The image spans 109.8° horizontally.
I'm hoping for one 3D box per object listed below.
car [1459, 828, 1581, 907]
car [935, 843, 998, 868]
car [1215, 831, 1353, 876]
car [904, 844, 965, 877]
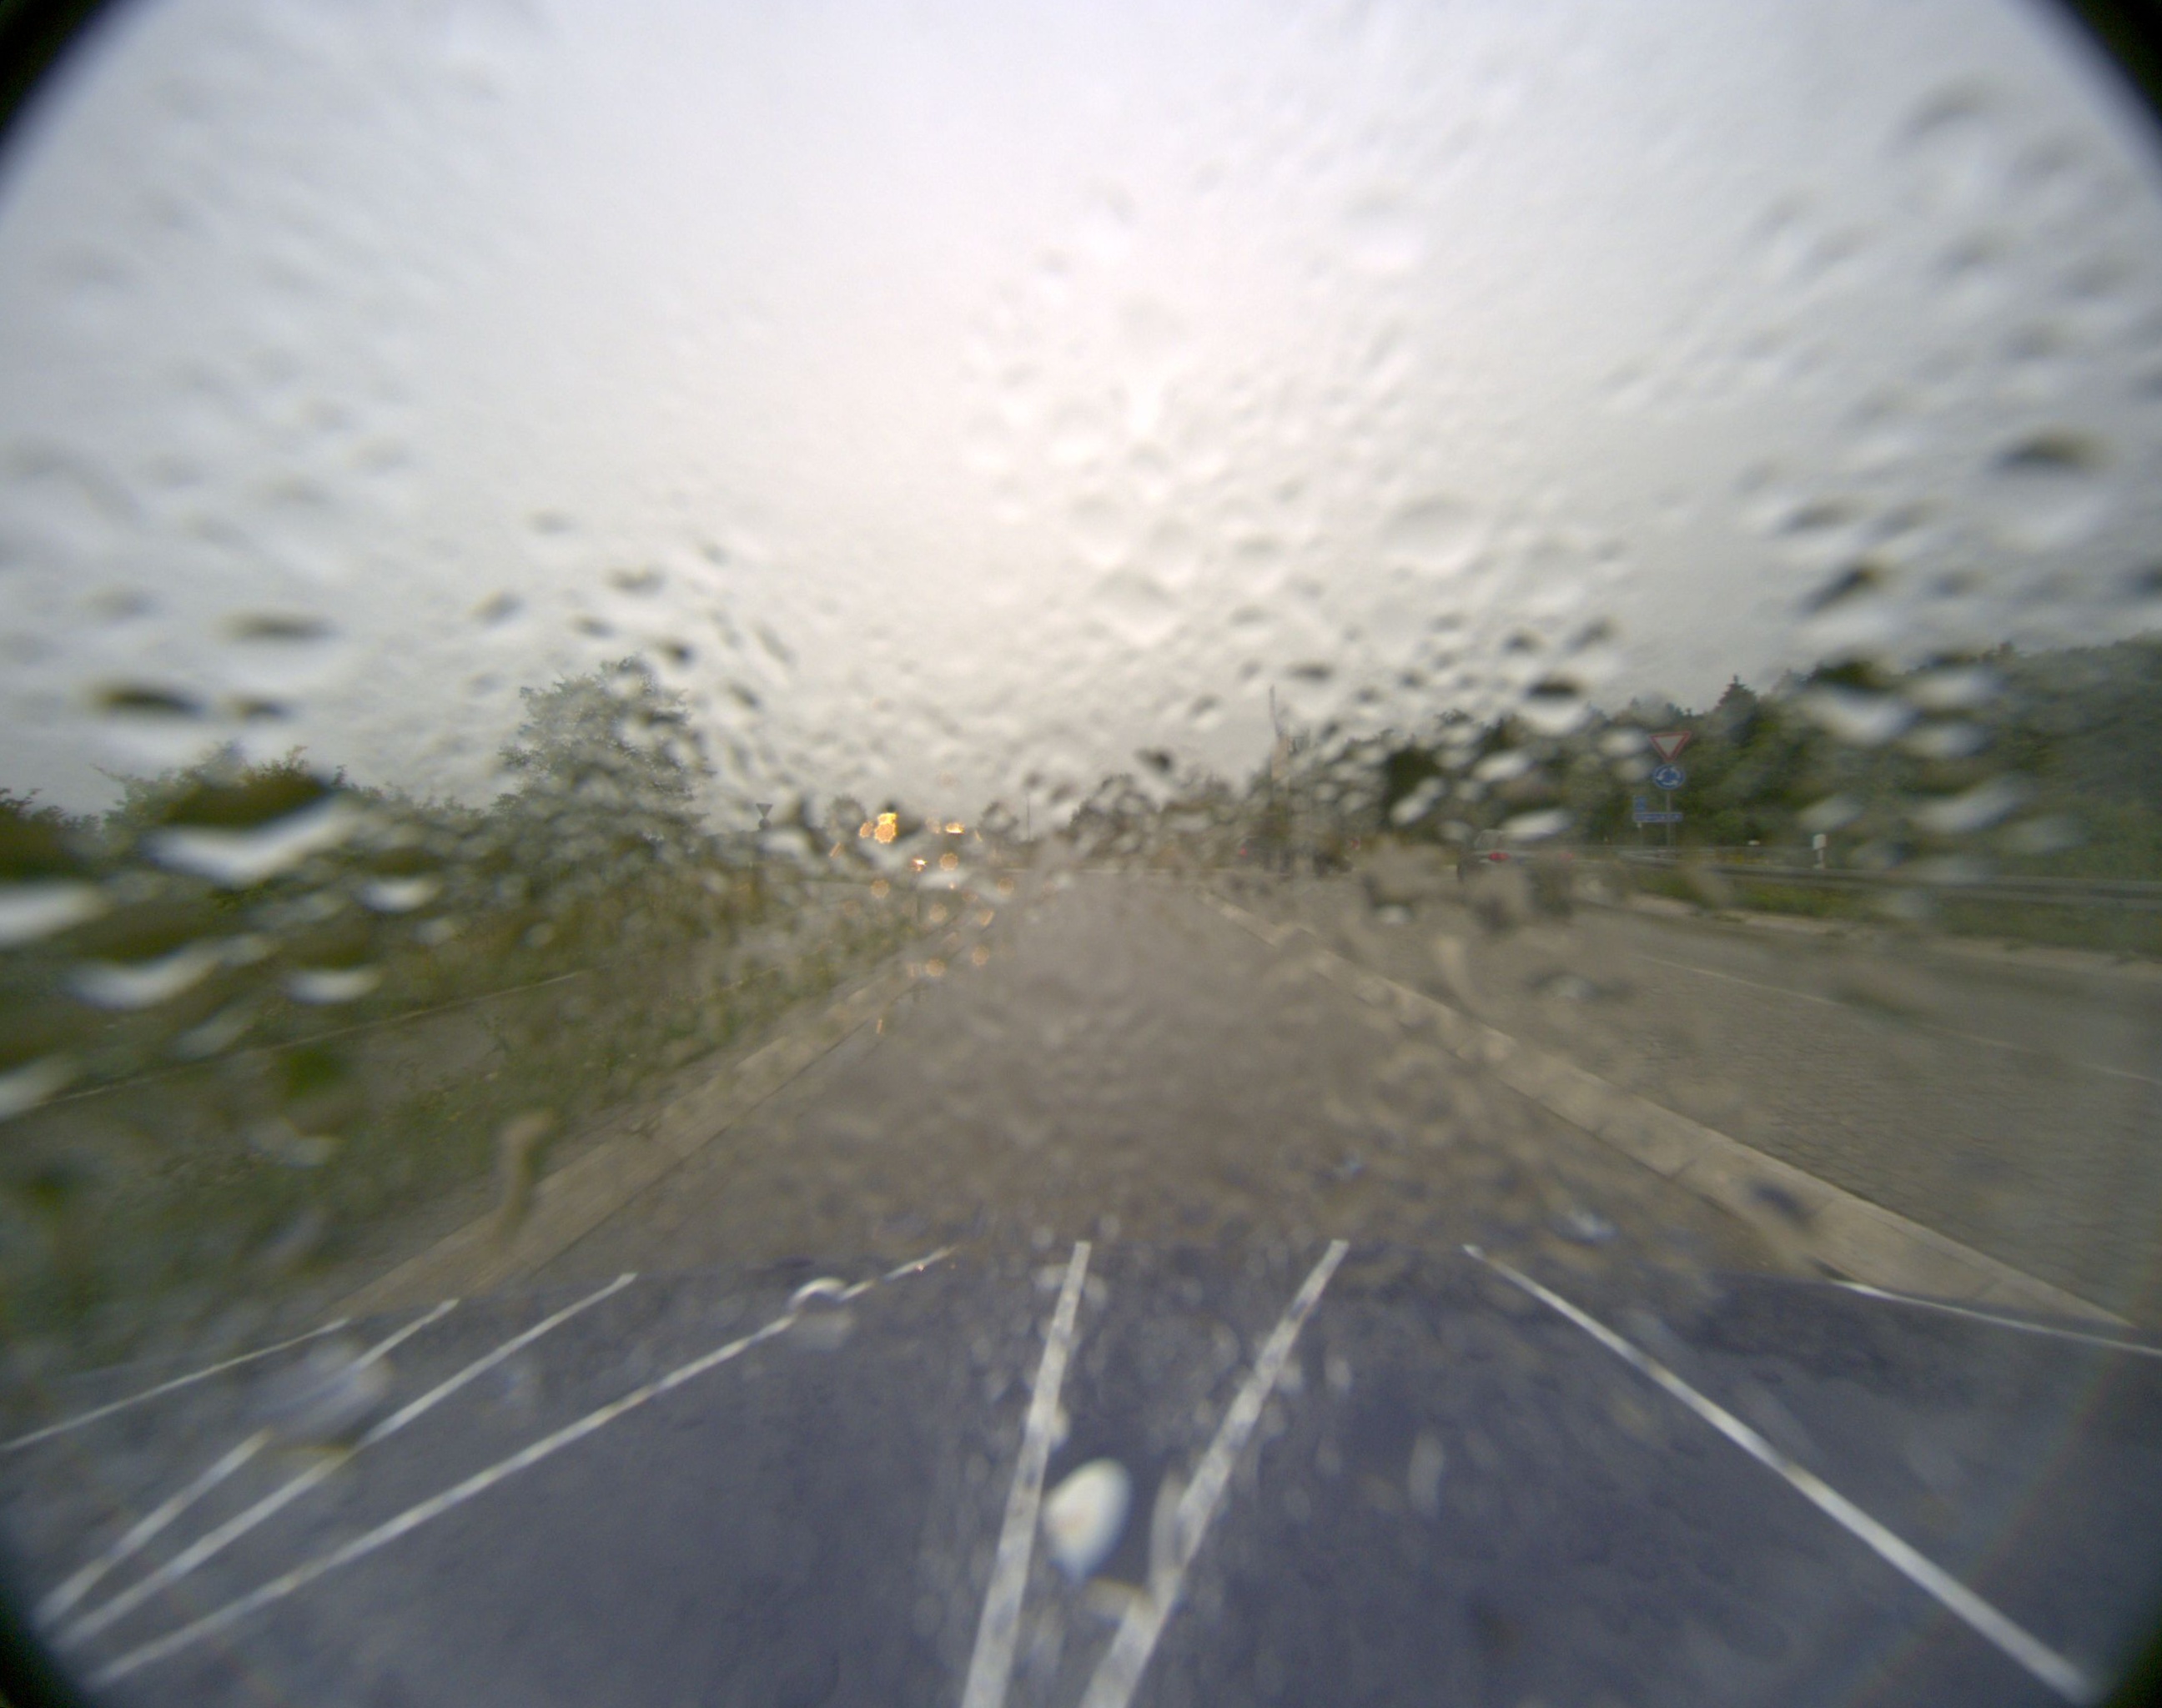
[{"bbox_3d":[10.006,0.226,17.629,1.802,1.566,4.005,-2,2,21],"label":"car"},{"bbox_3d":[-6.818,0.119,45.887,1.760,1.412,4.511,-1,-1,21],"label":"car"},{"bbox_3d":[7.079,-0.015,26.907,4.497,1.412,1.875,-1,0,8],"label":"car"},{"bbox_3d":[-6.641,0.298,34.070,1.952,1.363,4.496,0,-1,-21],"label":"car"}]
